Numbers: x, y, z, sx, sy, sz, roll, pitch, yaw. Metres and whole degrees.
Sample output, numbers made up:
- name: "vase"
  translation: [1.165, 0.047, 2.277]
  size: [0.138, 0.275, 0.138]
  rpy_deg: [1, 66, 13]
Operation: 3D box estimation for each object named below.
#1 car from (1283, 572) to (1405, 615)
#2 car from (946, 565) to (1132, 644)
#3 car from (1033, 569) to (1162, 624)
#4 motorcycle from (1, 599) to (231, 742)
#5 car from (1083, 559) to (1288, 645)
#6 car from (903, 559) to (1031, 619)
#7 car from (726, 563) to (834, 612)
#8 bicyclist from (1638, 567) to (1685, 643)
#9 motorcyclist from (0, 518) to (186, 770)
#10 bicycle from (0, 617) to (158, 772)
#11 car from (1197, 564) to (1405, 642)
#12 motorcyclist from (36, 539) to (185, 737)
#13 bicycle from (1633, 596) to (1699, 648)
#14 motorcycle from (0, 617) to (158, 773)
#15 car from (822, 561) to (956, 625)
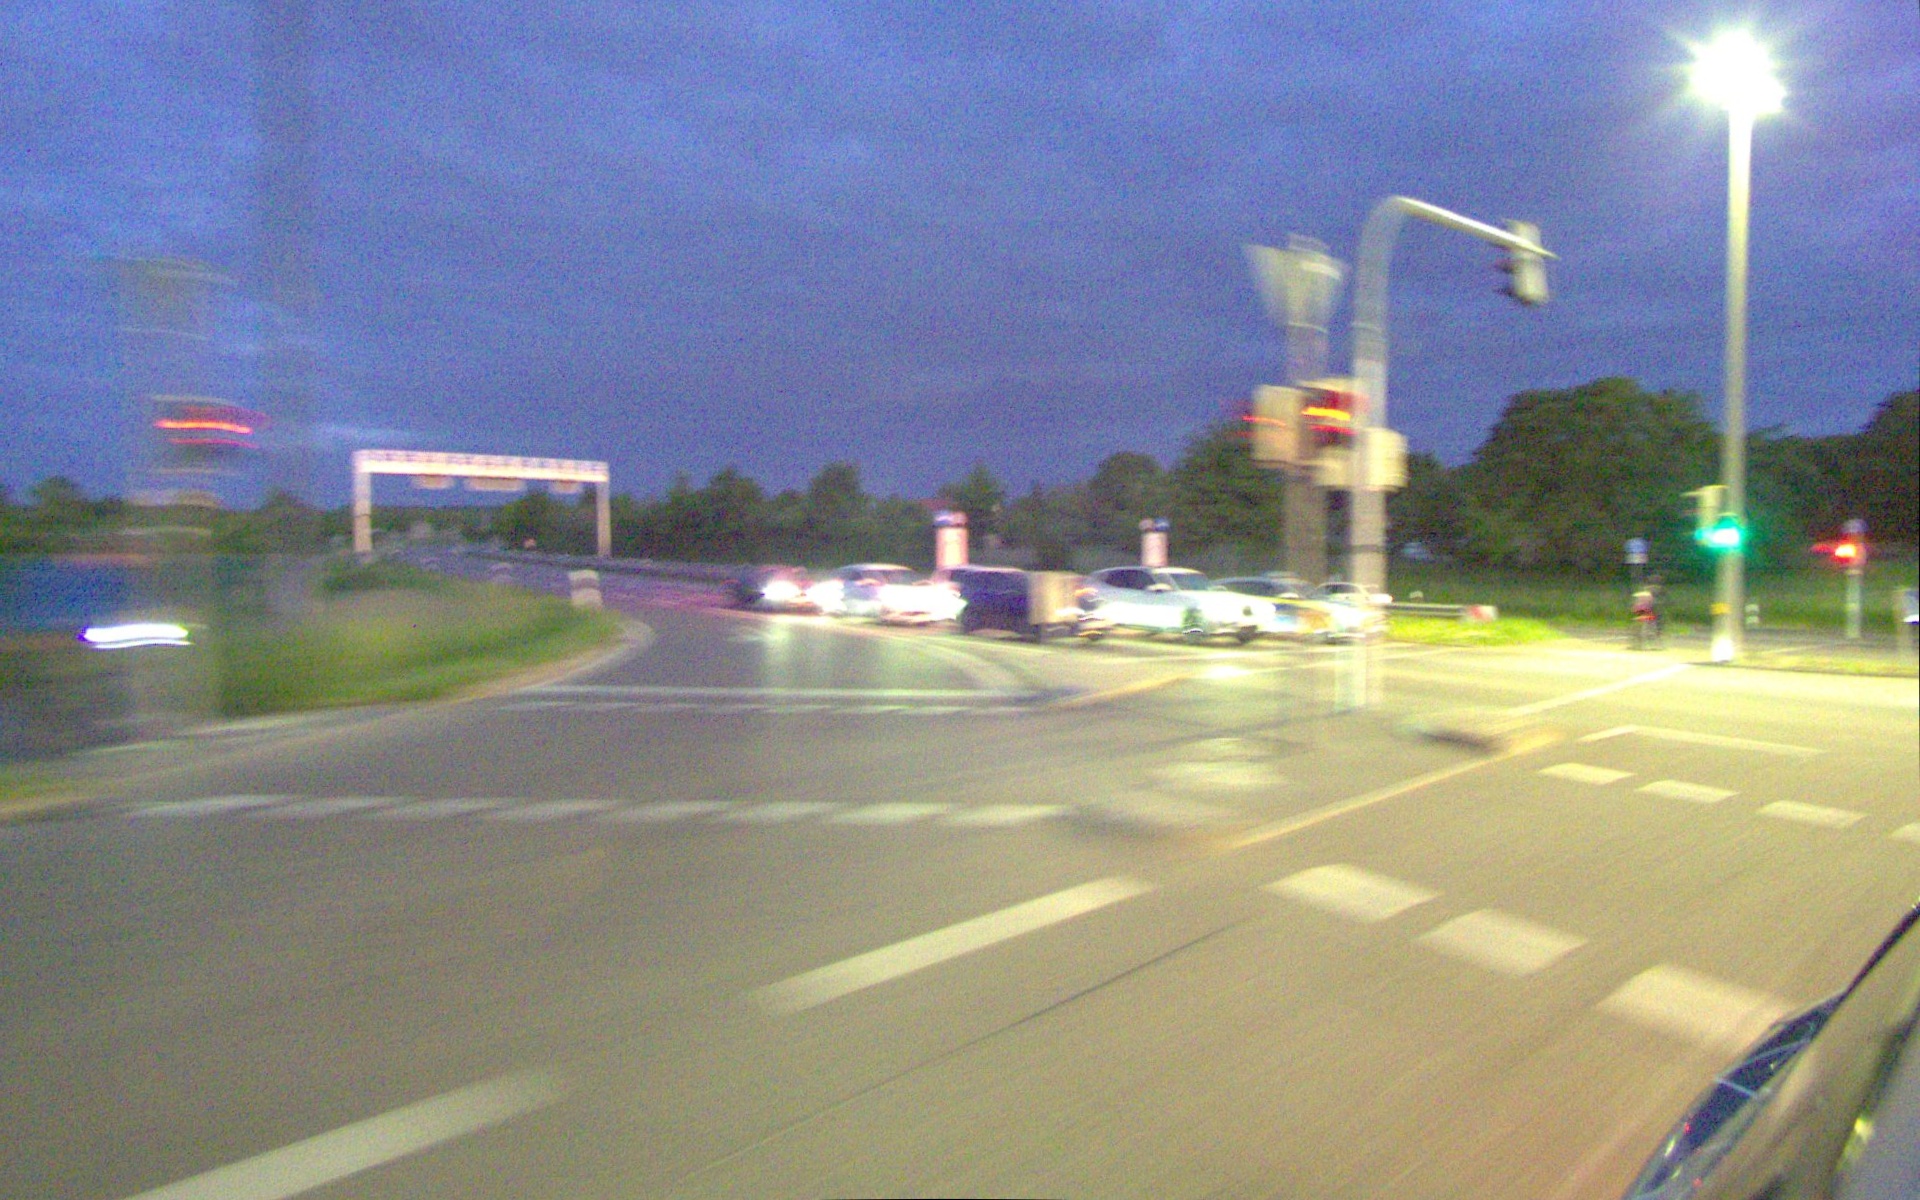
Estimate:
- name: "car"
  translation: [14.657, -0.267, 38.819]
  size: [1.596, 1.461, 4.114]
  rpy_deg: [0, 3, -40]
- name: "car"
  translation: [1.562, 0.033, 21.658]
  size: [1.751, 1.463, 4.295]
  rpy_deg: [1, 2, -32]
- name: "car"
  translation: [4.086, -0.135, 30.656]
  size: [1.744, 1.499, 3.913]
  rpy_deg: [1, 1, -32]
- name: "motorcycle"
  translation: [-7.950, 0.657, 9.542]
  size: [1.799, 1.195, 0.844]
  rpy_deg: [-3, 2, 21]
- name: "car"
  translation: [4.919, -0.022, 22.690]
  size: [1.877, 1.703, 4.423]
  rpy_deg: [1, 2, -33]
- name: "car"
  translation: [0.111, -0.375, 30.244]
  size: [1.717, 1.646, 4.366]
  rpy_deg: [0, 2, -33]
- name: "car"
  translation: [-5.787, -0.456, 32.123]
  size: [1.802, 1.407, 4.400]
  rpy_deg: [-1, 3, -33]
- name: "bicyclist"
  translation: [15.773, 0.094, 22.764]
  size: [0.982, 1.672, 0.603]
  rpy_deg: [0, 1, -39]
- name: "motorcyclist"
  translation: [-6.883, 0.316, 7.916]
  size: [0.862, 1.830, 0.909]
  rpy_deg: [-4, 2, 27]
- name: "bicycle"
  translation: [-7.081, 0.720, 7.833]
  size: [1.561, 1.045, 0.717]
  rpy_deg: [-4, 2, 27]
- name: "car"
  translation: [8.087, 0.007, 24.428]
  size: [1.822, 1.653, 4.588]
  rpy_deg: [0, 2, -33]
- name: "motorcyclist"
  translation: [-8.024, 0.344, 9.575]
  size: [0.780, 1.780, 0.680]
  rpy_deg: [-3, 2, 21]
- name: "bicycle"
  translation: [15.938, 0.471, 22.840]
  size: [2.031, 1.115, 0.694]
  rpy_deg: [0, 1, -40]
- name: "motorcycle"
  translation: [-7.081, 0.726, 7.833]
  size: [1.561, 1.045, 0.717]
  rpy_deg: [-4, 2, 27]
- name: "car"
  translation: [-1.962, -0.239, 26.846]
  size: [1.802, 1.543, 4.002]
  rpy_deg: [-1, 2, -33]
